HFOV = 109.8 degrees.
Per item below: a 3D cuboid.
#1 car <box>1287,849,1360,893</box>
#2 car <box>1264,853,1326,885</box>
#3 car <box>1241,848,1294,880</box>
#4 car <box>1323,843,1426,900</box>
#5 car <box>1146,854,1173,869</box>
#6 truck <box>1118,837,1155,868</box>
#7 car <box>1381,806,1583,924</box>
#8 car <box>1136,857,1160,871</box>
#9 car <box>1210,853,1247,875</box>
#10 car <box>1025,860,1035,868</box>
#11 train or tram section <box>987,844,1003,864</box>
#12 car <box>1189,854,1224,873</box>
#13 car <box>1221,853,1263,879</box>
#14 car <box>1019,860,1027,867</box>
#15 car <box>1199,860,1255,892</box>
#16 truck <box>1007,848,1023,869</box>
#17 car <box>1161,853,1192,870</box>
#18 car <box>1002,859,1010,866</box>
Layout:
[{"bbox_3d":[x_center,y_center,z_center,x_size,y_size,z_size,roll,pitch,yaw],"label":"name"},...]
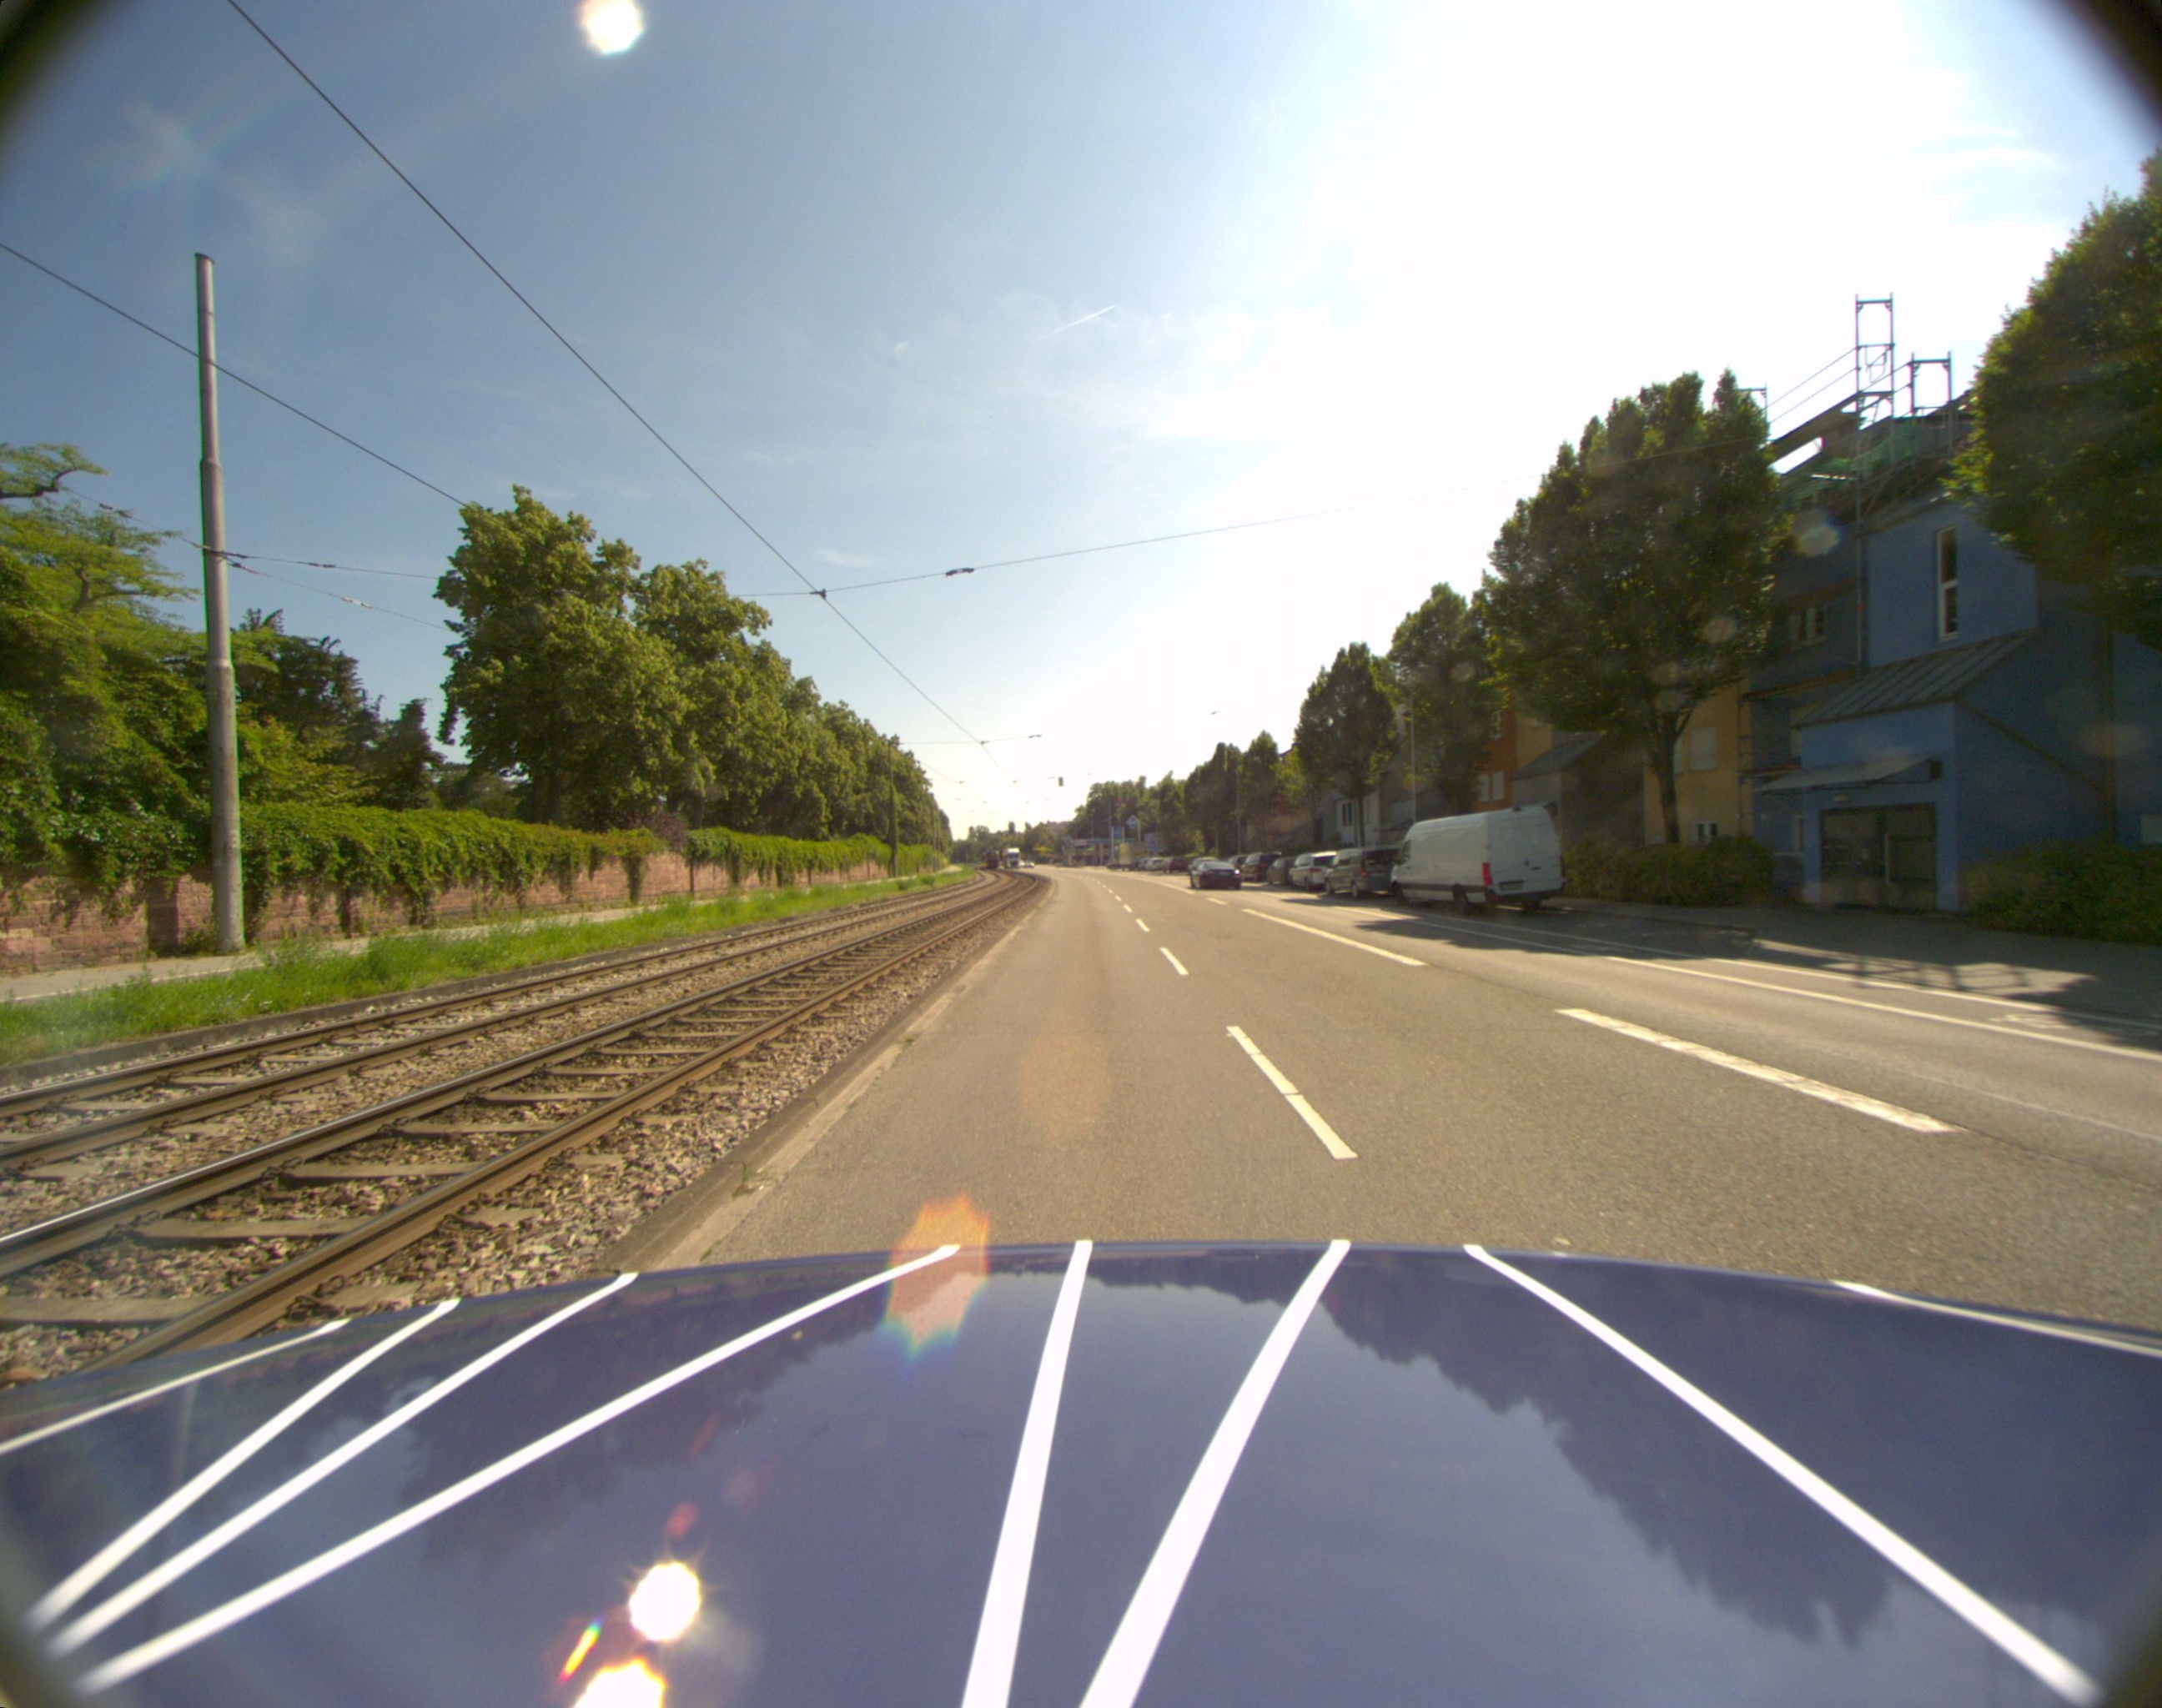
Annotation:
[{"bbox_3d":[11.059,0.723,34.968,1.852,1.693,4.540,-5,1,1],"label":"car"},{"bbox_3d":[11.184,0.743,40.047,1.871,1.447,4.074,-5,1,-3],"label":"car"},{"bbox_3d":[11.055,0.571,45.317,1.834,1.718,4.349,-4,0,-3],"label":"car"},{"bbox_3d":[11.157,0.618,29.319,1.998,1.855,4.967,-6,0,1],"label":"car"},{"bbox_3d":[8.495,0.800,82.628,2.040,1.490,4.131,-3,0,-6],"label":"car"},{"bbox_3d":[6.832,-0.188,94.884,3.165,3.533,8.780,-1,0,-6],"label":"truck"},{"bbox_3d":[10.967,0.261,21.652,1.998,2.661,7.086,-5,0,2],"label":"car"},{"bbox_3d":[7.657,1.115,87.520,1.915,1.469,4.213,-3,0,-6],"label":"car"},{"bbox_3d":[10.931,0.724,56.674,1.681,1.462,4.212,-3,0,-3],"label":"car"},{"bbox_3d":[-10.435,2.027,155.594,1.748,1.421,5.039,-3,0,-5],"label":"car"},{"bbox_3d":[-17.215,0.013,153.237,2.722,3.716,18.869,-3,0,-5],"label":"train or tram section"},{"bbox_3d":[10.425,0.788,63.539,1.682,1.437,4.835,-3,0,-6],"label":"car"},{"bbox_3d":[10.807,0.745,51.220,1.681,1.598,4.164,-3,0,-3],"label":"car"},{"bbox_3d":[-13.312,2.111,173.996,1.785,1.538,4.392,-3,0,-5],"label":"car"},{"bbox_3d":[6.212,0.910,32.702,1.691,1.237,4.064,0,0,1],"label":"car"},{"bbox_3d":[-13.106,0.793,149.905,2.806,3.926,11.937,-1,0,-6],"label":"truck"},{"bbox_3d":[9.376,0.713,74.694,1.910,1.567,4.929,-3,0,-6],"label":"car"},{"bbox_3d":[-21.487,2.496,217.582,1.855,1.707,3.996,-4,1,-9],"label":"car"}]
